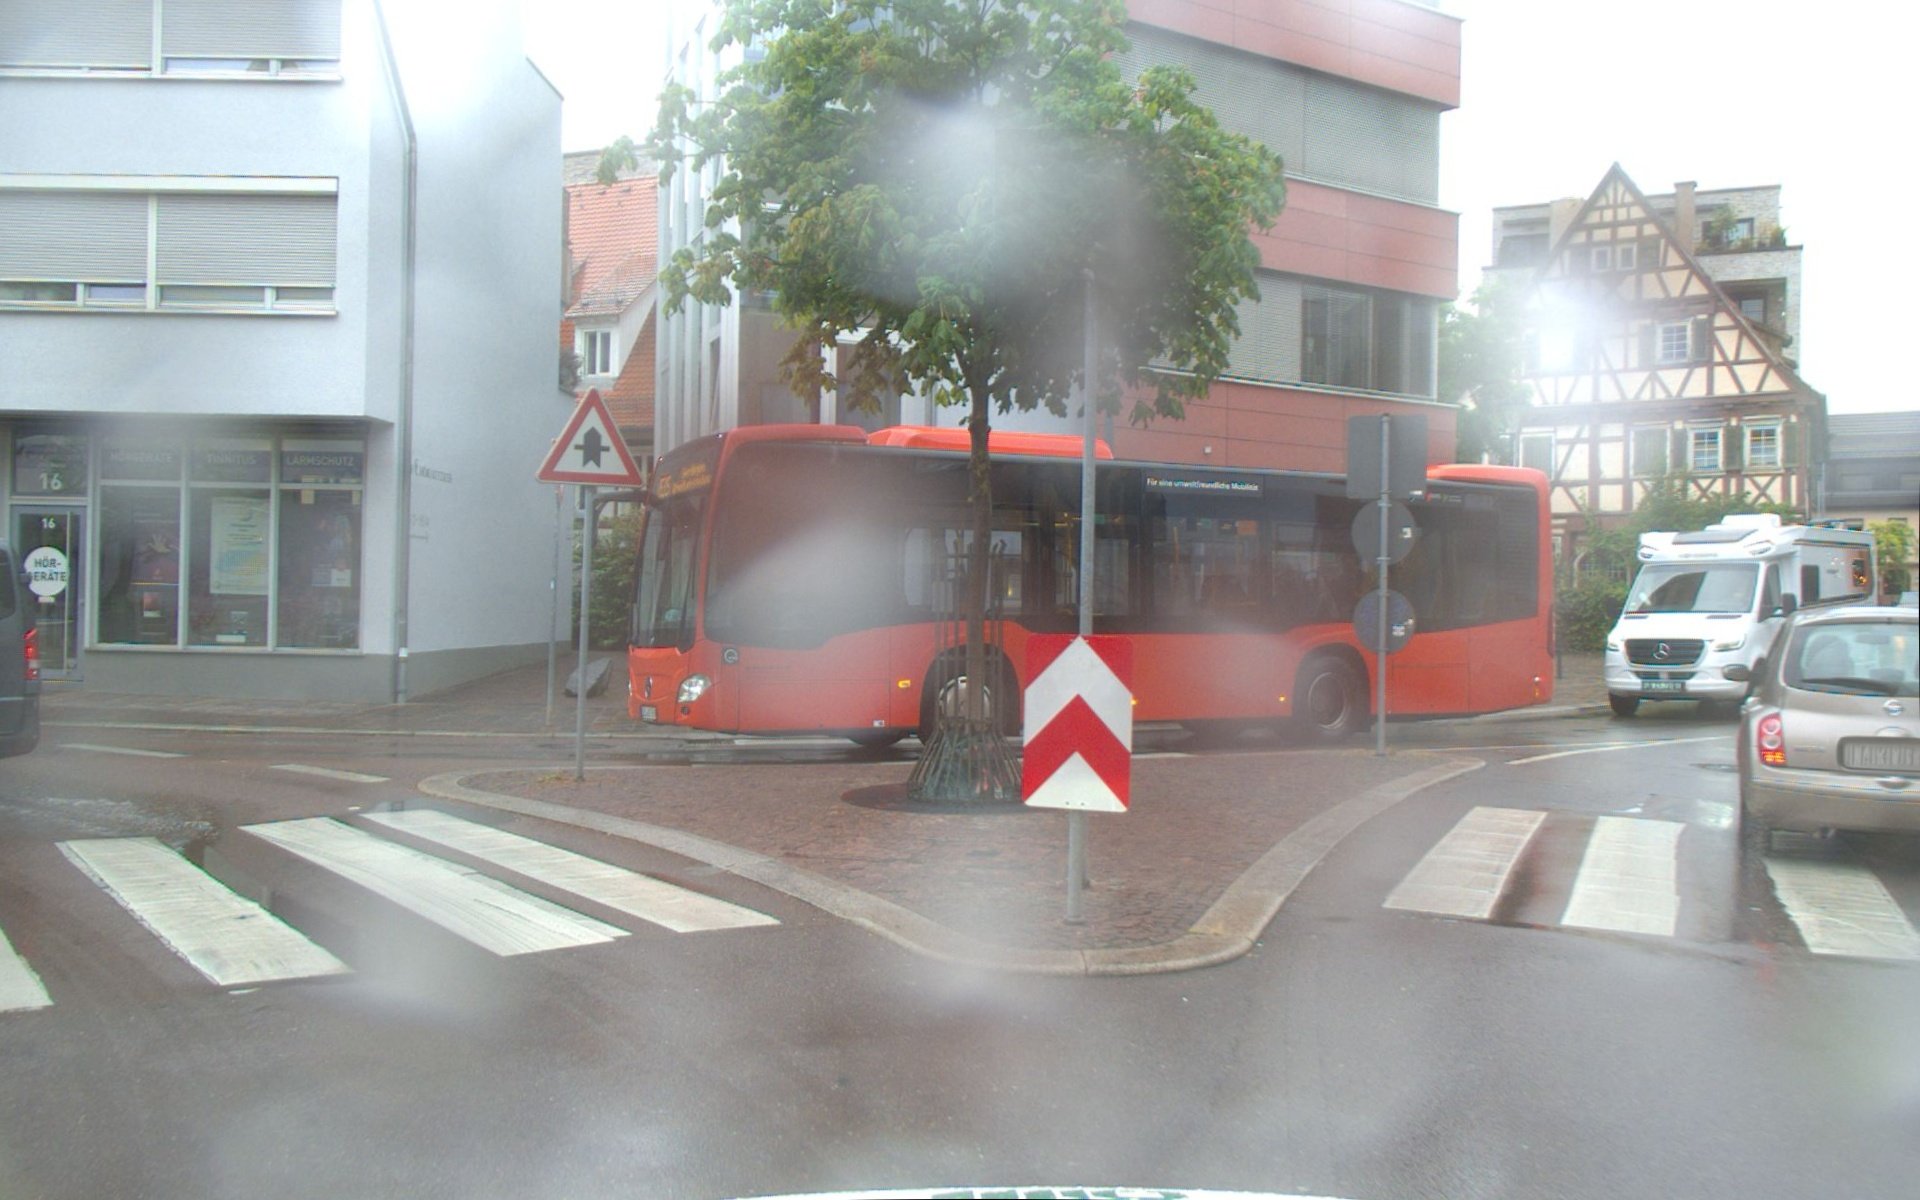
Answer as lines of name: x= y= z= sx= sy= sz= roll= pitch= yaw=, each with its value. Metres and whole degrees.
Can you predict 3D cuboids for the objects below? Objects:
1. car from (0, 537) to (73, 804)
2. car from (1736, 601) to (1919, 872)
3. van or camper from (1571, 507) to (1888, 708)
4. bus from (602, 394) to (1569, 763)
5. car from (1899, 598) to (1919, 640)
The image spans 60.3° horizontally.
car: x=-8.713 y=0.426 z=12.017 sx=4.626 sy=1.812 sz=1.948 roll=2 pitch=1 yaw=32
car: x=5.992 y=0.761 z=10.770 sx=1.493 sy=1.496 sz=3.336 roll=0 pitch=0 yaw=29
van or camper: x=11.752 y=0.102 z=24.929 sx=2.403 sy=2.631 sz=6.708 roll=1 pitch=0 yaw=43
bus: x=1.674 y=-0.195 z=17.727 sx=10.447 sy=3.143 sz=2.797 roll=0 pitch=-1 yaw=-27
car: x=40.333 y=0.811 z=69.444 sx=1.557 sy=1.742 sz=3.314 roll=0 pitch=0 yaw=29
